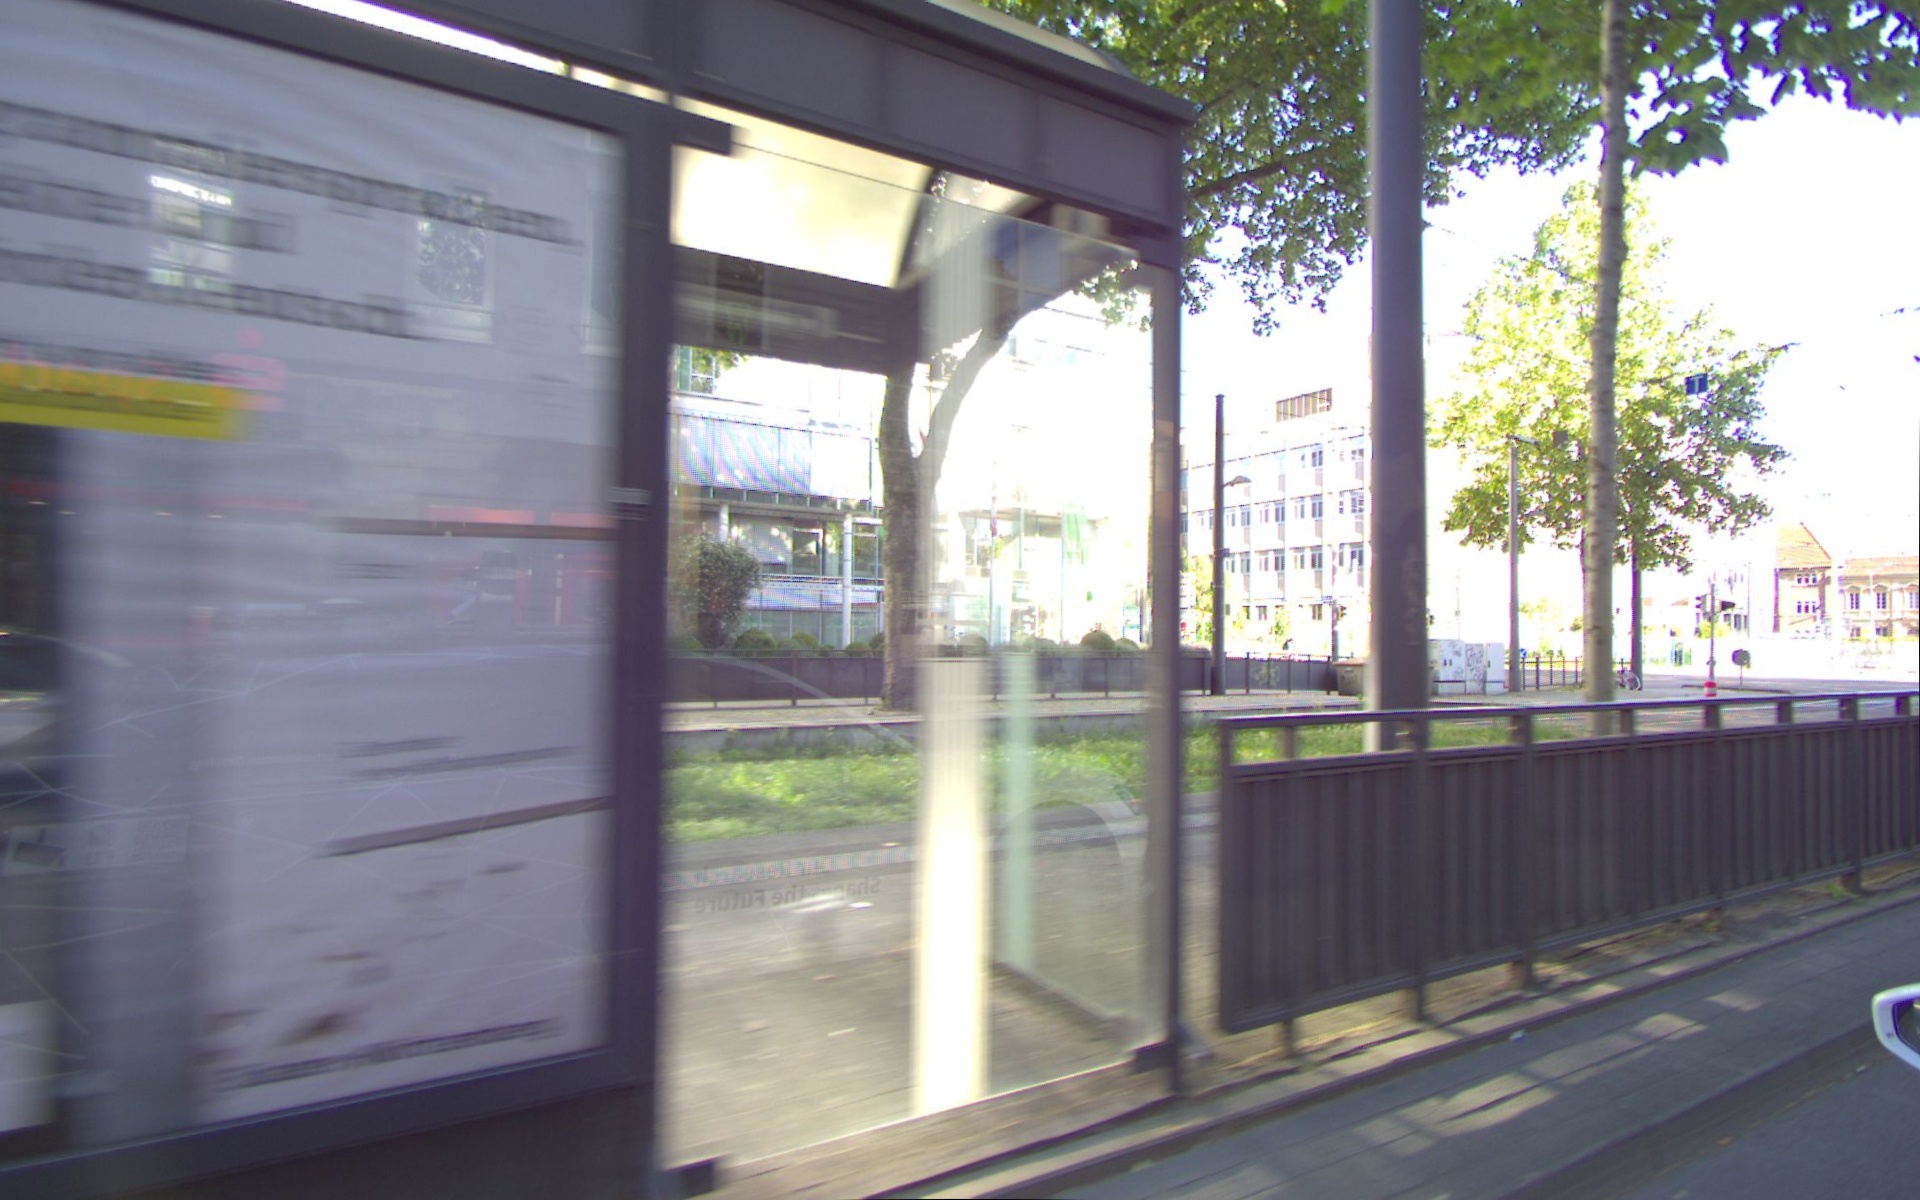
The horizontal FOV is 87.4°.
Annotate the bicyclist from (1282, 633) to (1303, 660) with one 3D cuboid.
[{"bbox_3d":[18.544,2.593,55.996,0.869,1.514,0.719,0,-2,42],"label":"bicyclist"}]

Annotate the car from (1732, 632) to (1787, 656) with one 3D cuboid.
[{"bbox_3d":[69.410,3.834,87.156,4.664,2.040,1.987,2,-2,-27],"label":"car"}]

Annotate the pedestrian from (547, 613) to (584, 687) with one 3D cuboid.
[{"bbox_3d":[-10.868,1.365,27.687,0.825,2.002,0.602,1,0,-33],"label":"pedestrian"}]

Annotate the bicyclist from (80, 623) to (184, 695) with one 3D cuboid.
[{"bbox_3d":[-15.466,1.089,18.815,1.359,1.266,0.998,1,0,-33],"label":"bicyclist"}]

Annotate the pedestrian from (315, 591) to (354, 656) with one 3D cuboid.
[{"bbox_3d":[-15.688,0.597,25.218,0.759,1.613,0.901,2,-2,-31],"label":"pedestrian"}]

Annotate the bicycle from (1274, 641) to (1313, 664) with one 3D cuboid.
[{"bbox_3d":[18.559,2.916,55.970,2.014,1.205,0.587,0,-2,43],"label":"bicycle"}]

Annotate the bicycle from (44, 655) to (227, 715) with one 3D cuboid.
[{"bbox_3d":[-15.374,1.566,18.847,2.558,1.010,0.795,2,0,-34],"label":"bicycle"}]

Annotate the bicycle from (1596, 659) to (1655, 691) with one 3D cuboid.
[{"bbox_3d":[20.918,2.350,31.579,1.702,0.958,0.810,2,-2,-25],"label":"bicycle"}]
